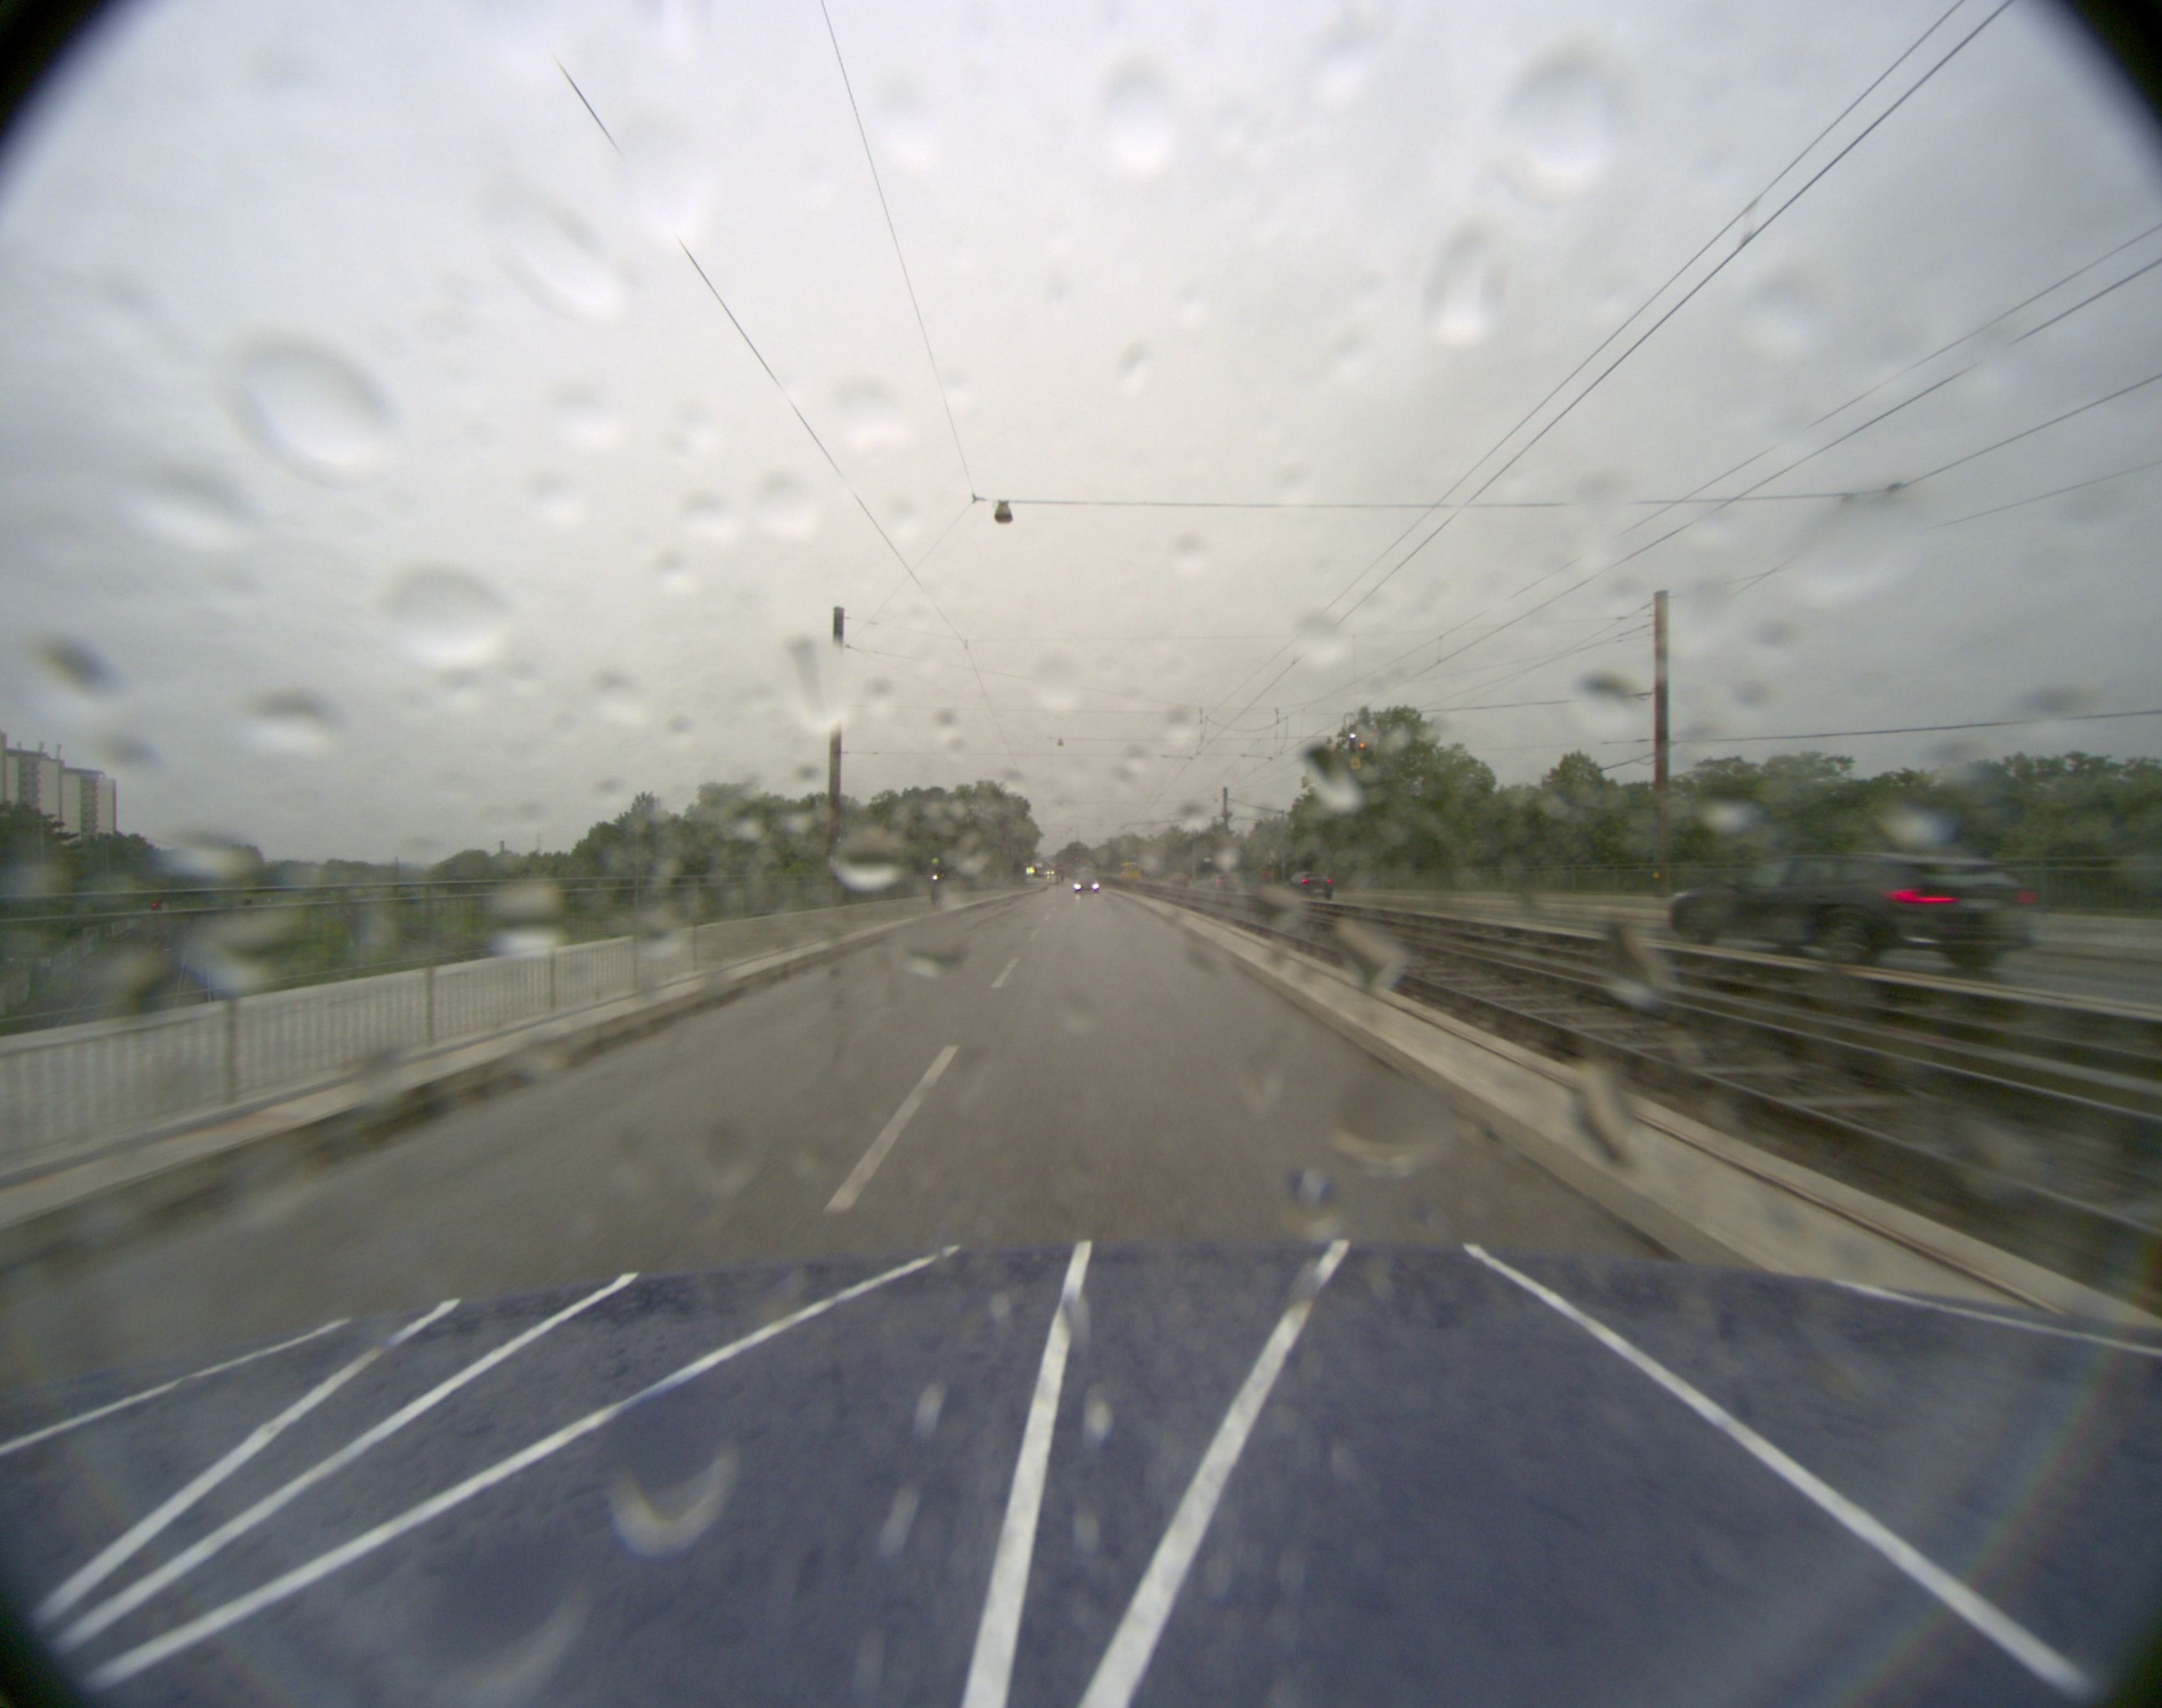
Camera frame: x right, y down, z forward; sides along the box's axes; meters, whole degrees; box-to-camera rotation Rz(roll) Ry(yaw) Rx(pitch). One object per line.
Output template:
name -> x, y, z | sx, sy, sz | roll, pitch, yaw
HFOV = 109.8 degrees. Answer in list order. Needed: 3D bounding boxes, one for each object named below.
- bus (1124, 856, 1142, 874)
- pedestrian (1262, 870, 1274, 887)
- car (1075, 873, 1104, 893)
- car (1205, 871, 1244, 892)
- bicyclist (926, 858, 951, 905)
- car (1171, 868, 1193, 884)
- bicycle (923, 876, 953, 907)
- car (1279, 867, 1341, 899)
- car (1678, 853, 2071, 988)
bus -> 10.150, 2.191, 148.124 | 2.715, 3.320, 10.997 | 1, -2, 0
pedestrian -> 19.939, 2.616, 80.975 | 0.867, 1.808, 1.042 | -2, 0, -2
car -> 0.638, 2.296, 61.449 | 1.999, 1.497, 4.195 | -2, -1, -4
car -> 11.600, 2.212, 61.813 | 1.999, 1.500, 5.112 | 1, 0, -2
bicyclist -> -5.565, 1.065, 29.752 | 0.727, 1.753, 0.949 | -2, 1, 0
car -> 11.946, 2.560, 90.012 | 1.998, 1.707, 4.941 | 1, 0, 0
bicycle -> -5.586, 1.444, 29.778 | 0.725, 1.122, 2.168 | -2, -1, 0
car -> 11.997, 1.498, 40.077 | 1.999, 1.500, 4.091 | 1, 0, -1
car -> 11.626, 0.847, 11.625 | 1.822, 1.645, 4.000 | -2, 0, 1
